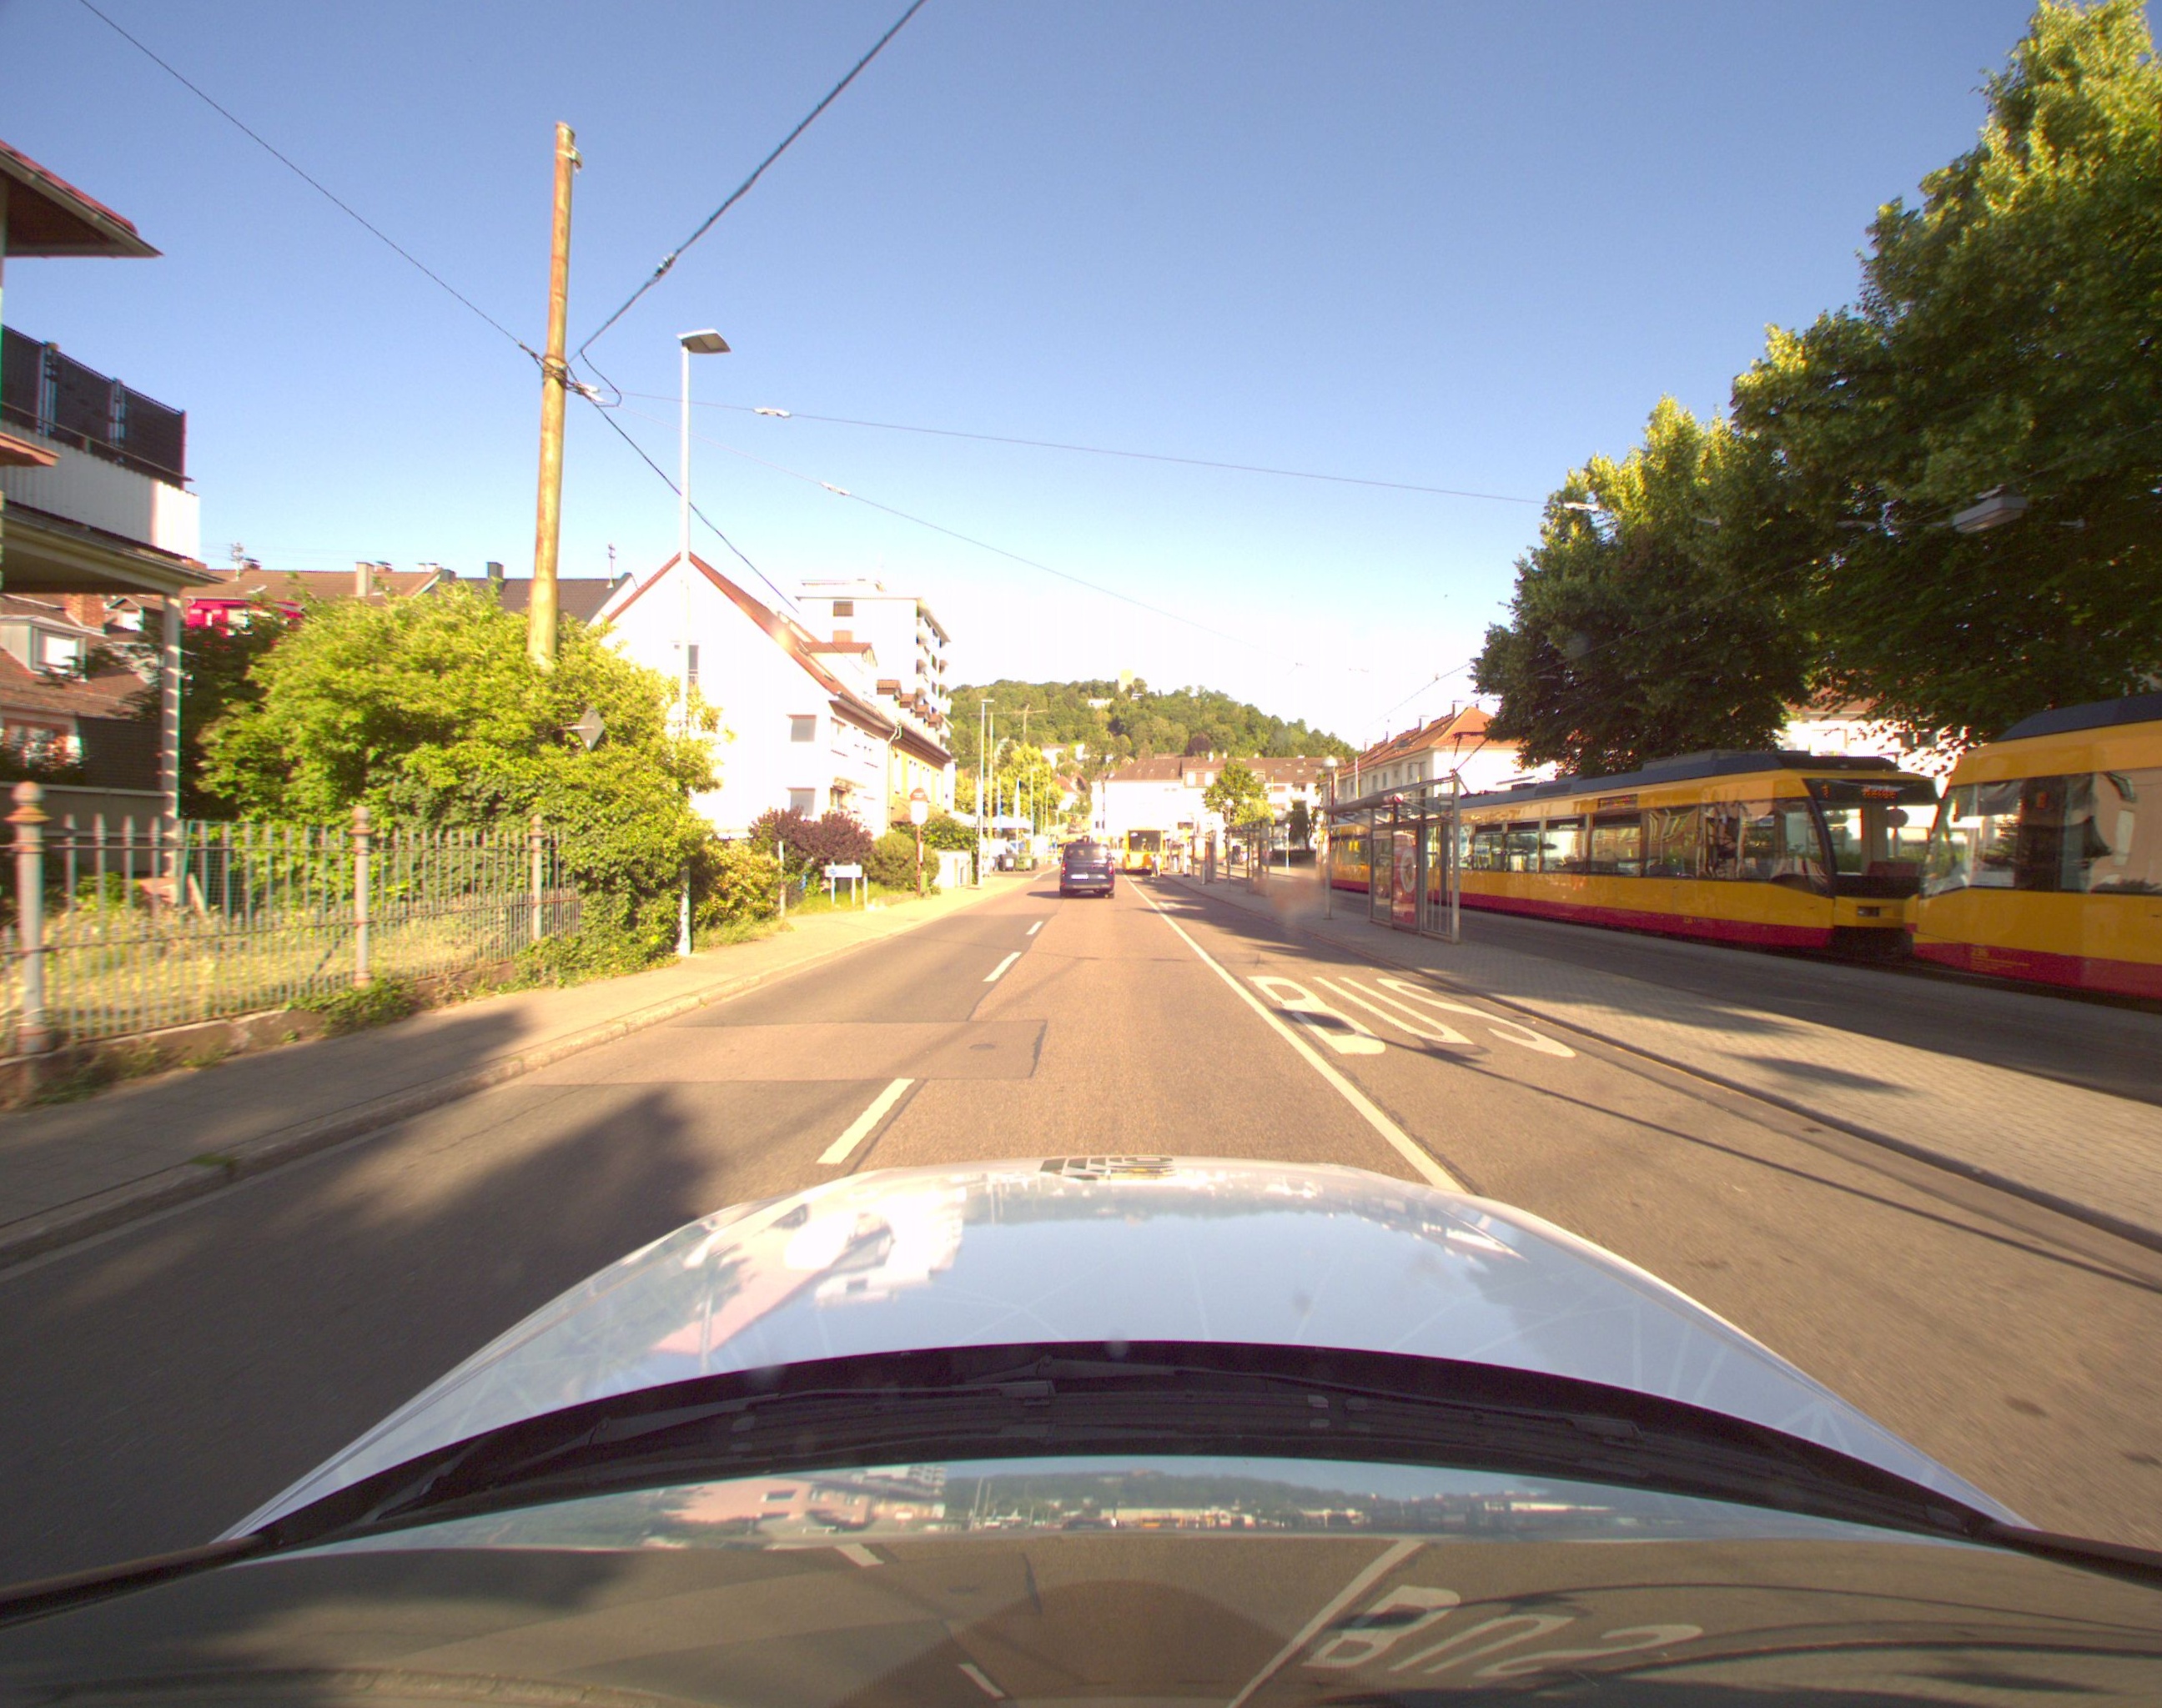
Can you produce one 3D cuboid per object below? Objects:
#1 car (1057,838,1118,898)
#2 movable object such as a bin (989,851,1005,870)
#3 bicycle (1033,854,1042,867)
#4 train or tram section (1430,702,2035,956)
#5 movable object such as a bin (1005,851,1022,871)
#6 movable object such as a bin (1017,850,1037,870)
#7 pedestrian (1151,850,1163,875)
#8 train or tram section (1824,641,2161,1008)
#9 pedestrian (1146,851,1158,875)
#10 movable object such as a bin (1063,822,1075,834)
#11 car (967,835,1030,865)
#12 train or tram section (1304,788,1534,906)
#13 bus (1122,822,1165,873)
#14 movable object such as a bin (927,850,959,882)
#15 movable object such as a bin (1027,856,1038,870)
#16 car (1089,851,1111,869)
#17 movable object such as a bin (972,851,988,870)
[{"bbox_3d":[0.287,0.484,30.682,2.054,2.013,5.002,-2,0,1],"label":"car"},{"bbox_3d":[-6.678,0.514,64.625,1.215,1.482,0.703,0,3,-4],"label":"movable object such as a bin"},{"bbox_3d":[-3.890,0.561,72.547,0.722,1.178,1.776,0,0,-8],"label":"bicycle"},{"bbox_3d":[12.000,-0.278,18.139,2.946,3.534,13.467,-1,-1,1],"label":"train or tram section"},{"bbox_3d":[-5.375,0.546,64.878,1.225,1.482,0.698,-2,4,-28],"label":"movable object such as a bin"},{"bbox_3d":[-4.340,0.449,65.833,1.045,1.482,1.321,2,4,30],"label":"movable object such as a bin"},{"bbox_3d":[5.044,0.572,54.099,0.548,1.613,0.544,0,0,-36],"label":"pedestrian"},{"bbox_3d":[11.524,-0.246,3.116,2.947,3.421,15.940,-1,1,0],"label":"train or tram section"},{"bbox_3d":[4.761,0.581,54.497,0.548,1.613,0.629,0,0,-36],"label":"pedestrian"},{"bbox_3d":[-2.919,-6.293,198.117,2.176,2.690,4.014,0,1,13],"label":"movable object such as a bin"},{"bbox_3d":[-7.098,-0.302,70.084,5.073,2.469,2.094,1,0,-21],"label":"car"},{"bbox_3d":[12.385,-0.132,32.598,2.946,3.534,15.973,-1,-1,1],"label":"train or tram section"},{"bbox_3d":[4.584,-0.513,61.627,2.678,3.416,12.023,0,1,2],"label":"bus"},{"bbox_3d":[-6.256,0.536,37.046,1.304,1.429,0.991,0,0,-3],"label":"movable object such as a bin"},{"bbox_3d":[-3.996,0.718,67.072,0.655,1.062,0.587,3,2,13],"label":"movable object such as a bin"},{"bbox_3d":[1.560,0.459,67.619,1.788,1.409,4.001,1,0,1],"label":"car"},{"bbox_3d":[-7.992,0.523,64.497,1.175,1.482,0.703,0,3,-3],"label":"movable object such as a bin"}]
